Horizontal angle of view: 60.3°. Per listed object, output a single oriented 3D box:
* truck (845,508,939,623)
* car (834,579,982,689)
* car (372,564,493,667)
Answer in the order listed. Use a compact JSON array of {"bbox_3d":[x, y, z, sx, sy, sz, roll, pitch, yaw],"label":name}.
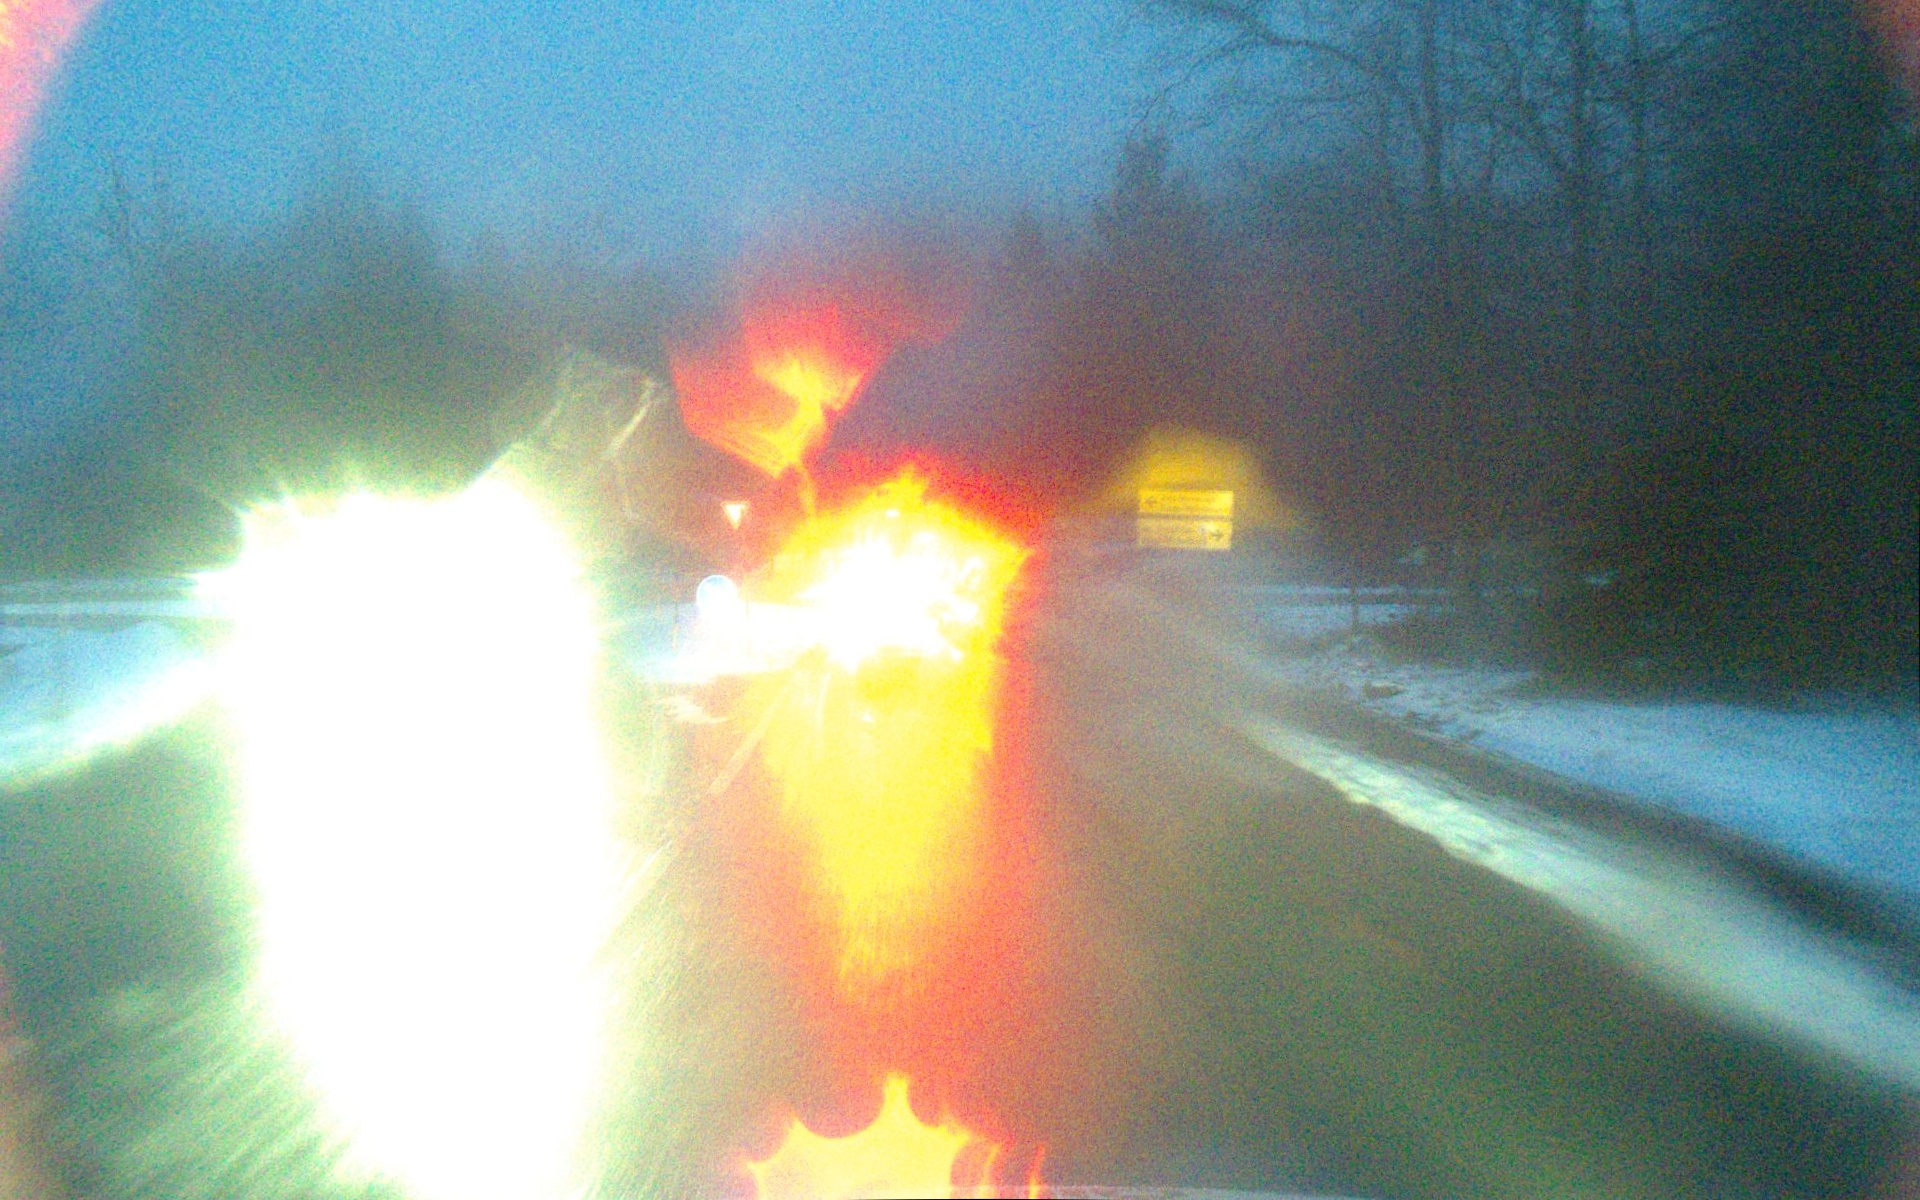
[{"bbox_3d":[-1.870,-0.899,43.863,2.036,2.793,5.312,2,1,-6],"label":"truck"},{"bbox_3d":[-0.783,0.417,23.413,1.884,1.299,3.998,1,2,-3],"label":"car"},{"bbox_3d":[-8.598,0.181,27.028,1.714,1.512,3.985,-1,2,-17],"label":"car"}]
